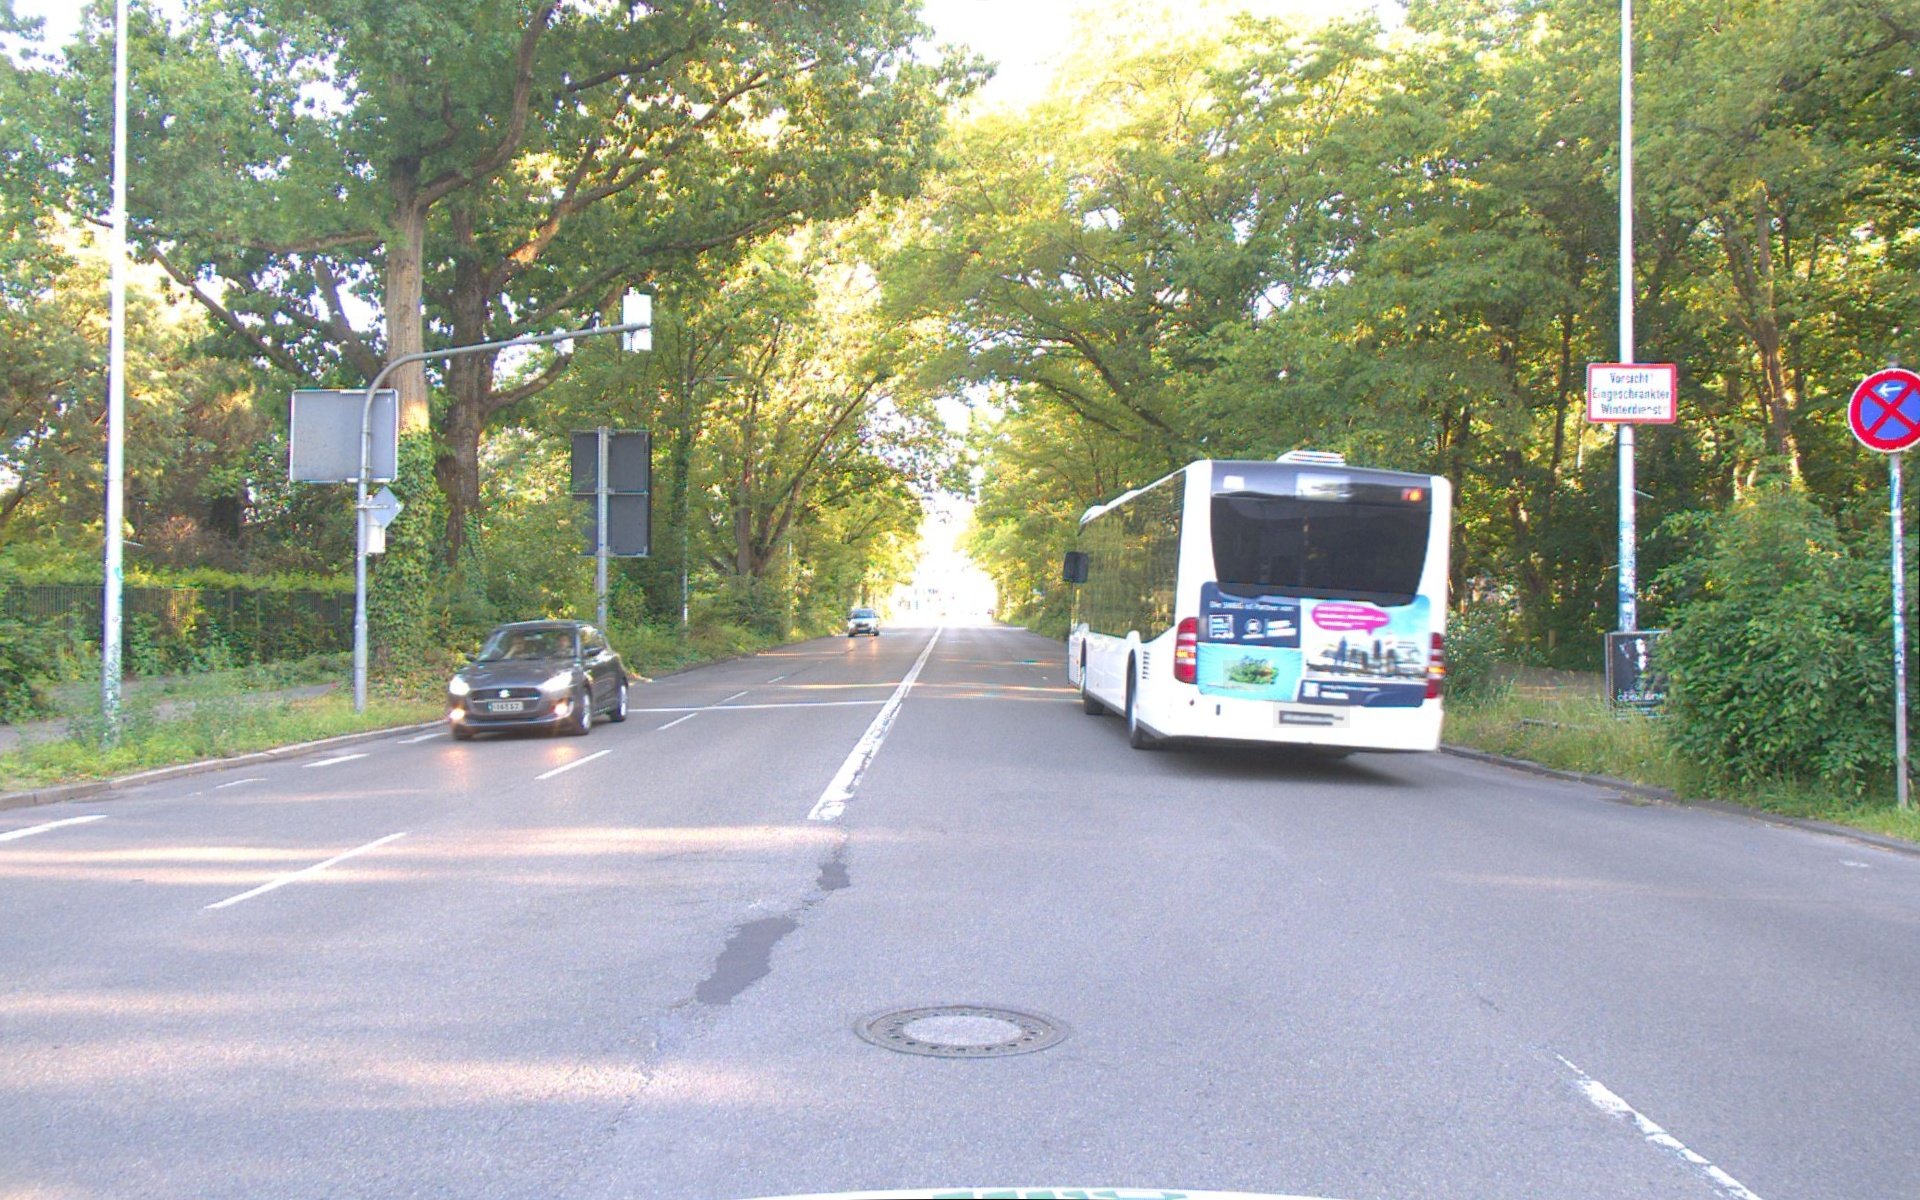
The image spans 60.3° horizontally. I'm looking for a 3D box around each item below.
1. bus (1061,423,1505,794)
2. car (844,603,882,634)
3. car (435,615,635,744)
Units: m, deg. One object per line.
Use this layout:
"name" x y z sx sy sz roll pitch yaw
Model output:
"bus" 3.233 0.096 20.736 2.951 3.141 12.268 3 0 -1
"car" -5.322 1.023 91.117 1.770 1.607 4.318 -2 0 0
"car" -5.521 0.981 21.897 1.673 1.478 3.639 -2 0 0
